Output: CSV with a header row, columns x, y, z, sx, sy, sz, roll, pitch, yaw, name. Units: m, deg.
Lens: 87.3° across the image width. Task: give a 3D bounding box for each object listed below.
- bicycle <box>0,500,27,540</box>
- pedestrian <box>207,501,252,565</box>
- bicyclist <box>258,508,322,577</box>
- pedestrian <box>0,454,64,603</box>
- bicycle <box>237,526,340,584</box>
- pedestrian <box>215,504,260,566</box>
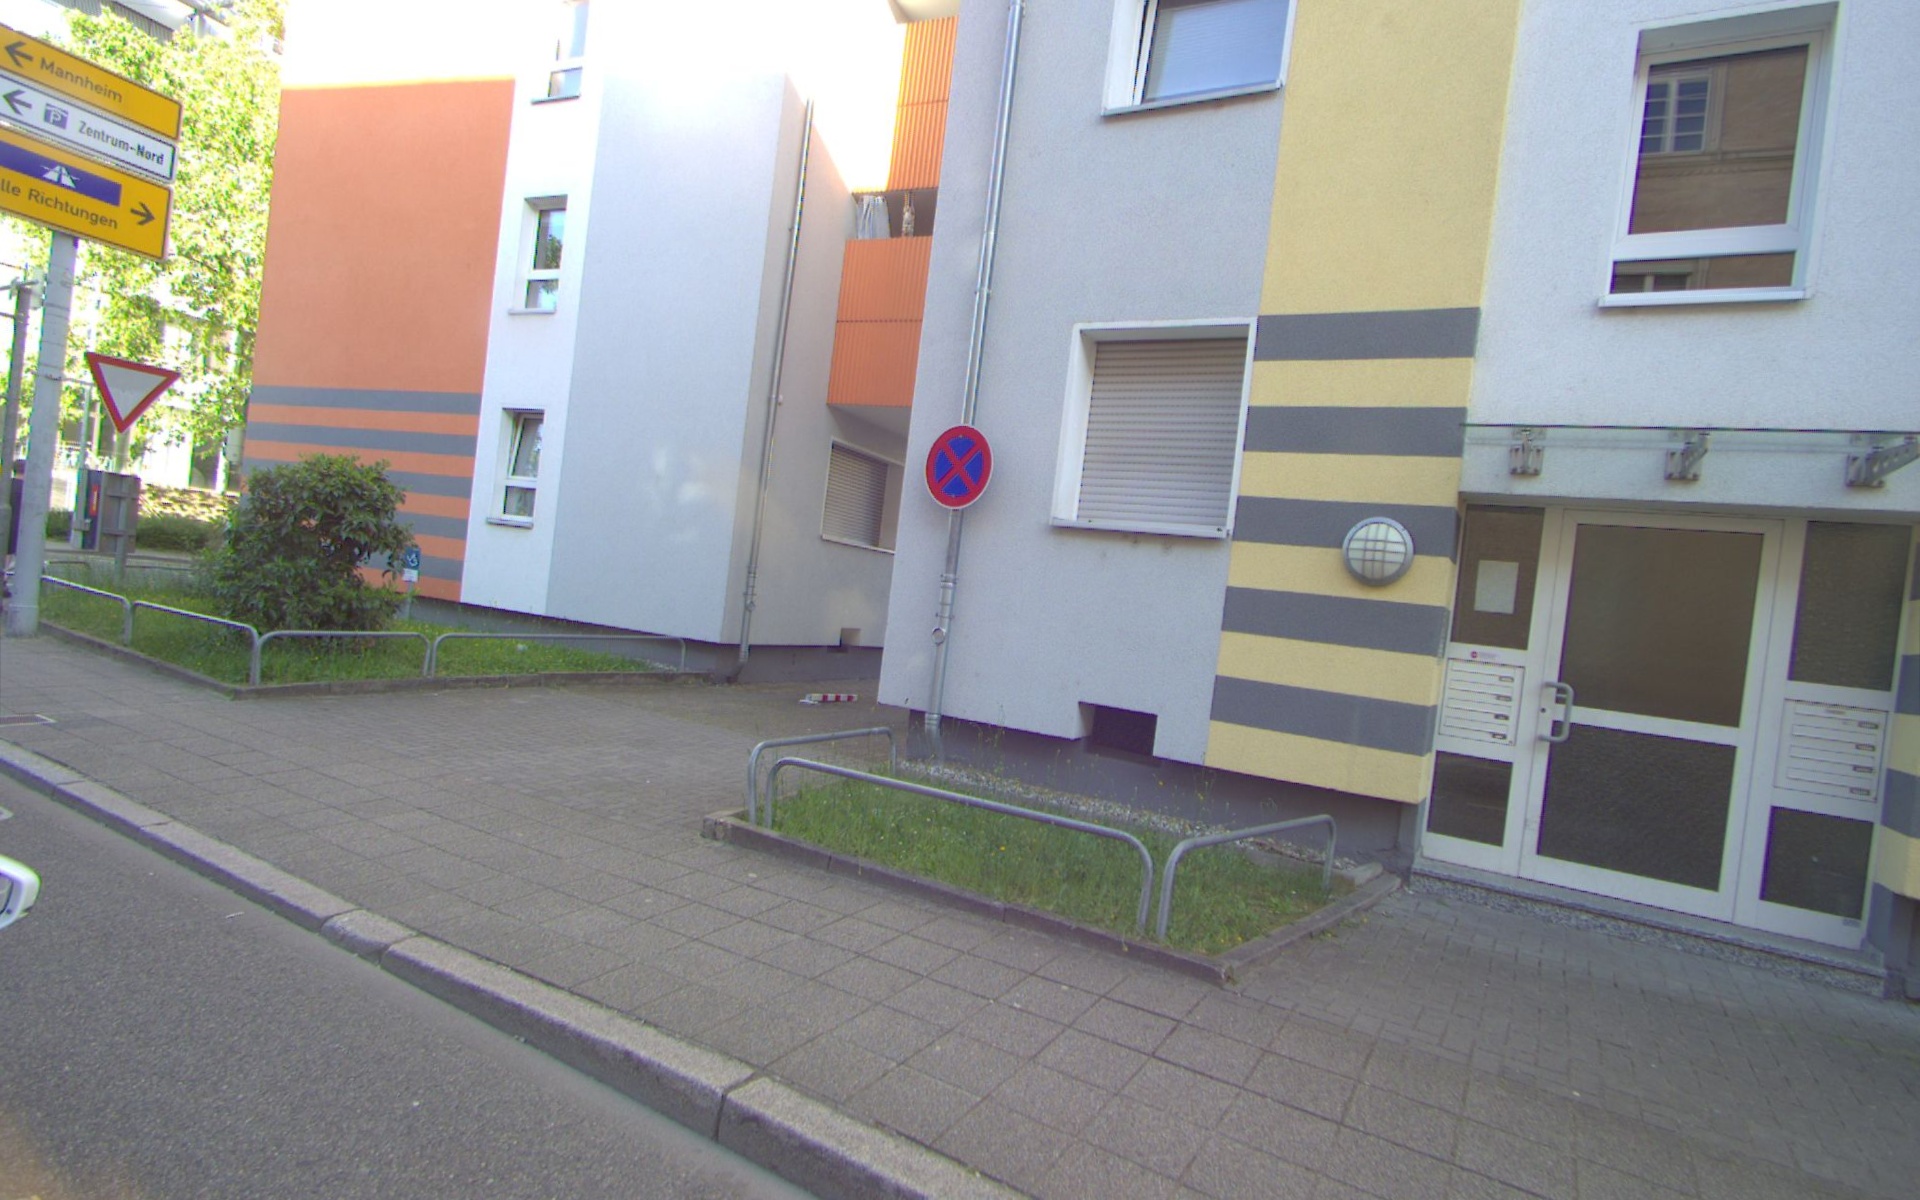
x,y,z,sx,sy,sz,roll,pitch,yaw,name
-26.397,-2.248,27.395,1.409,1.021,0.379,7,1,-11,bicycle
-22.550,-2.066,31.048,0.637,1.816,0.766,6,-1,34,pedestrian
-16.610,-1.419,24.959,0.583,1.546,1.075,8,1,37,bicyclist
-12.354,-0.931,13.116,0.695,1.831,0.714,8,-1,-32,pedestrian
-16.637,-1.100,24.967,0.583,1.166,1.963,7,0,37,bicycle
-21.977,-1.968,30.618,0.637,1.739,0.766,6,-1,34,pedestrian
